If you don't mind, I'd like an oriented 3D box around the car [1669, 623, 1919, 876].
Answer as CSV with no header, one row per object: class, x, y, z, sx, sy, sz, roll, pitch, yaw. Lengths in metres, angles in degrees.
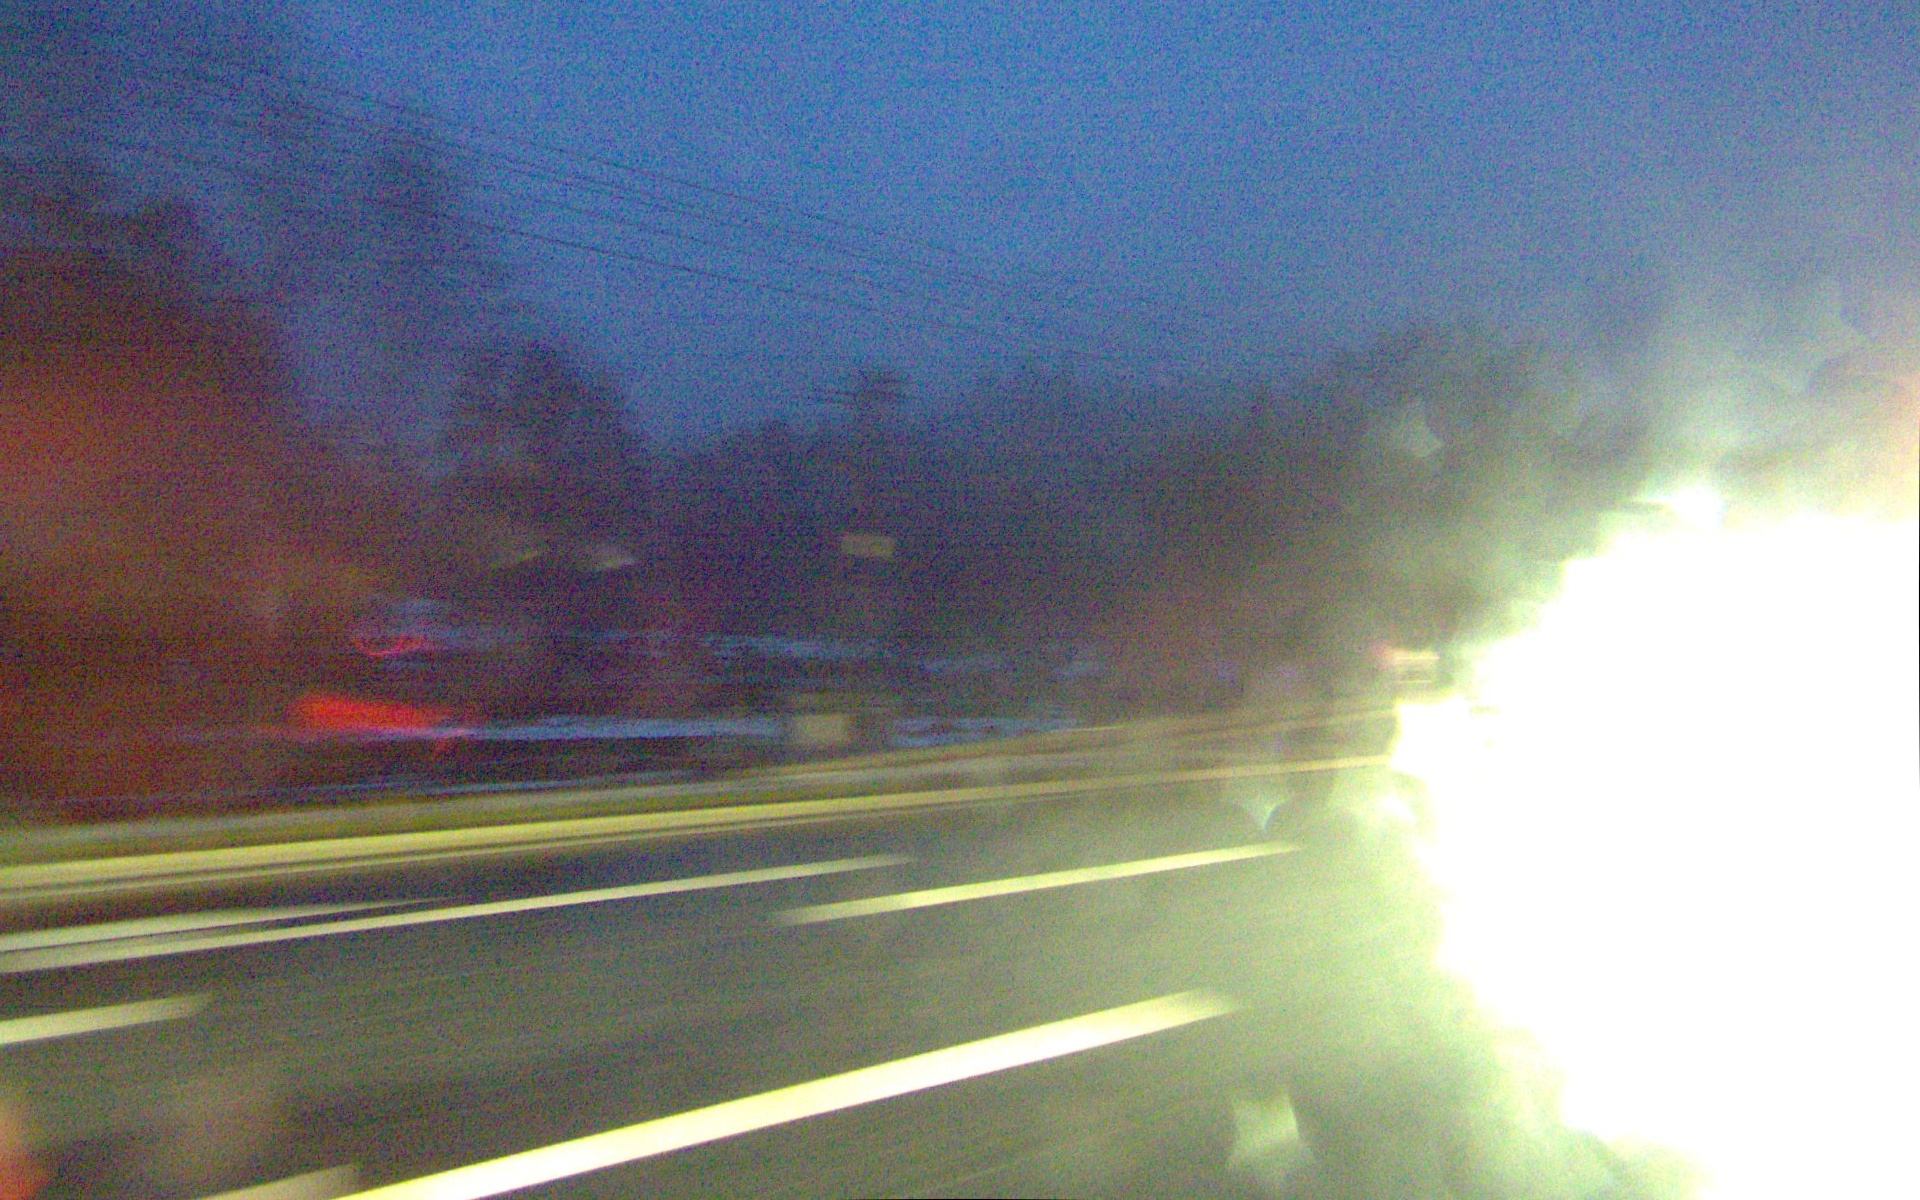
car,7.577,0.993,7.854,3.953,1.607,1.880,1,-1,-30
